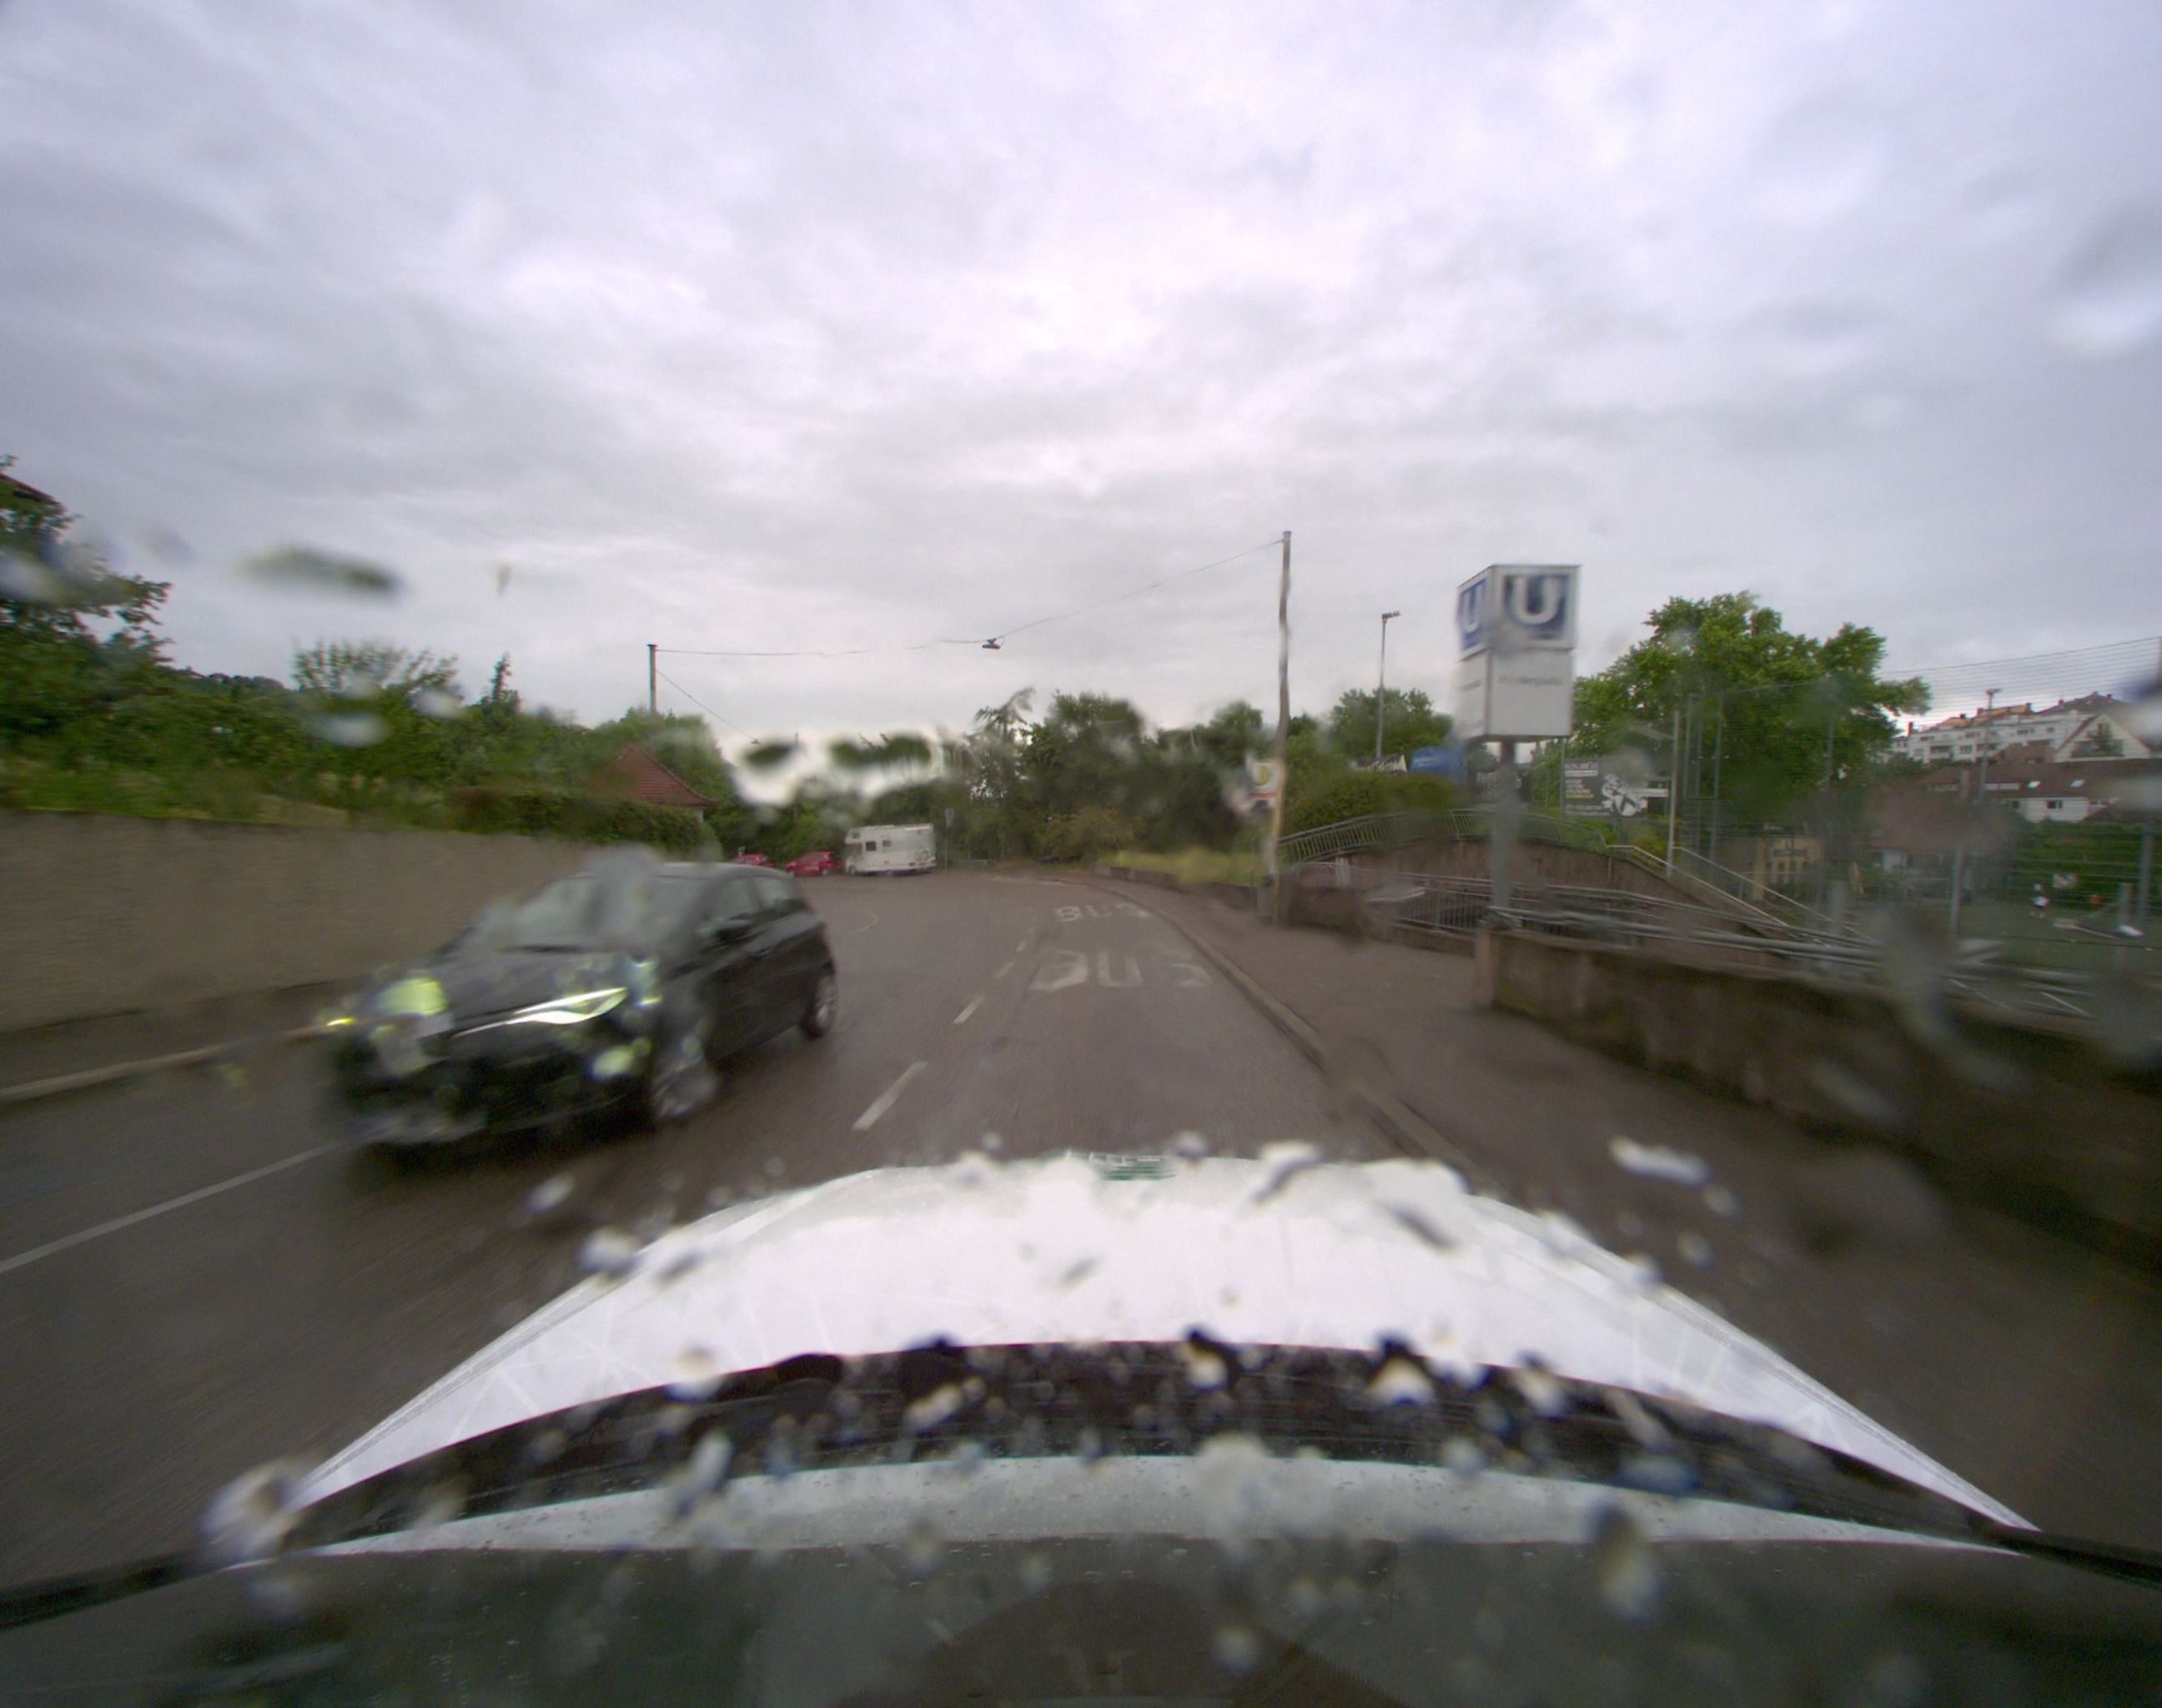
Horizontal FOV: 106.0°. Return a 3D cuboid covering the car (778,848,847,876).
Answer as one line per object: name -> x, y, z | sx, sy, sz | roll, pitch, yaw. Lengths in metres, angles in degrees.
car -> -17.080, 0.510, 51.893 | 3.767, 1.460, 1.653 | -2, 5, 13

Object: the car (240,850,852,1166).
car -> -3.170, 0.740, 5.957 | 1.761, 1.520, 3.976 | -1, 0, 1

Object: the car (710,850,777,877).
car -> -21.963, 0.621, 53.010 | 3.643, 1.513, 1.568 | -2, 4, 8

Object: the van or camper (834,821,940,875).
van or camper -> -11.778, -0.375, 49.363 | 6.200, 2.943, 2.414 | -1, 5, 33

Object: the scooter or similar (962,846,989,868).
scooter or similar -> -6.336, 0.177, 48.877 | 1.687, 1.282, 0.455 | -2, 2, 33
